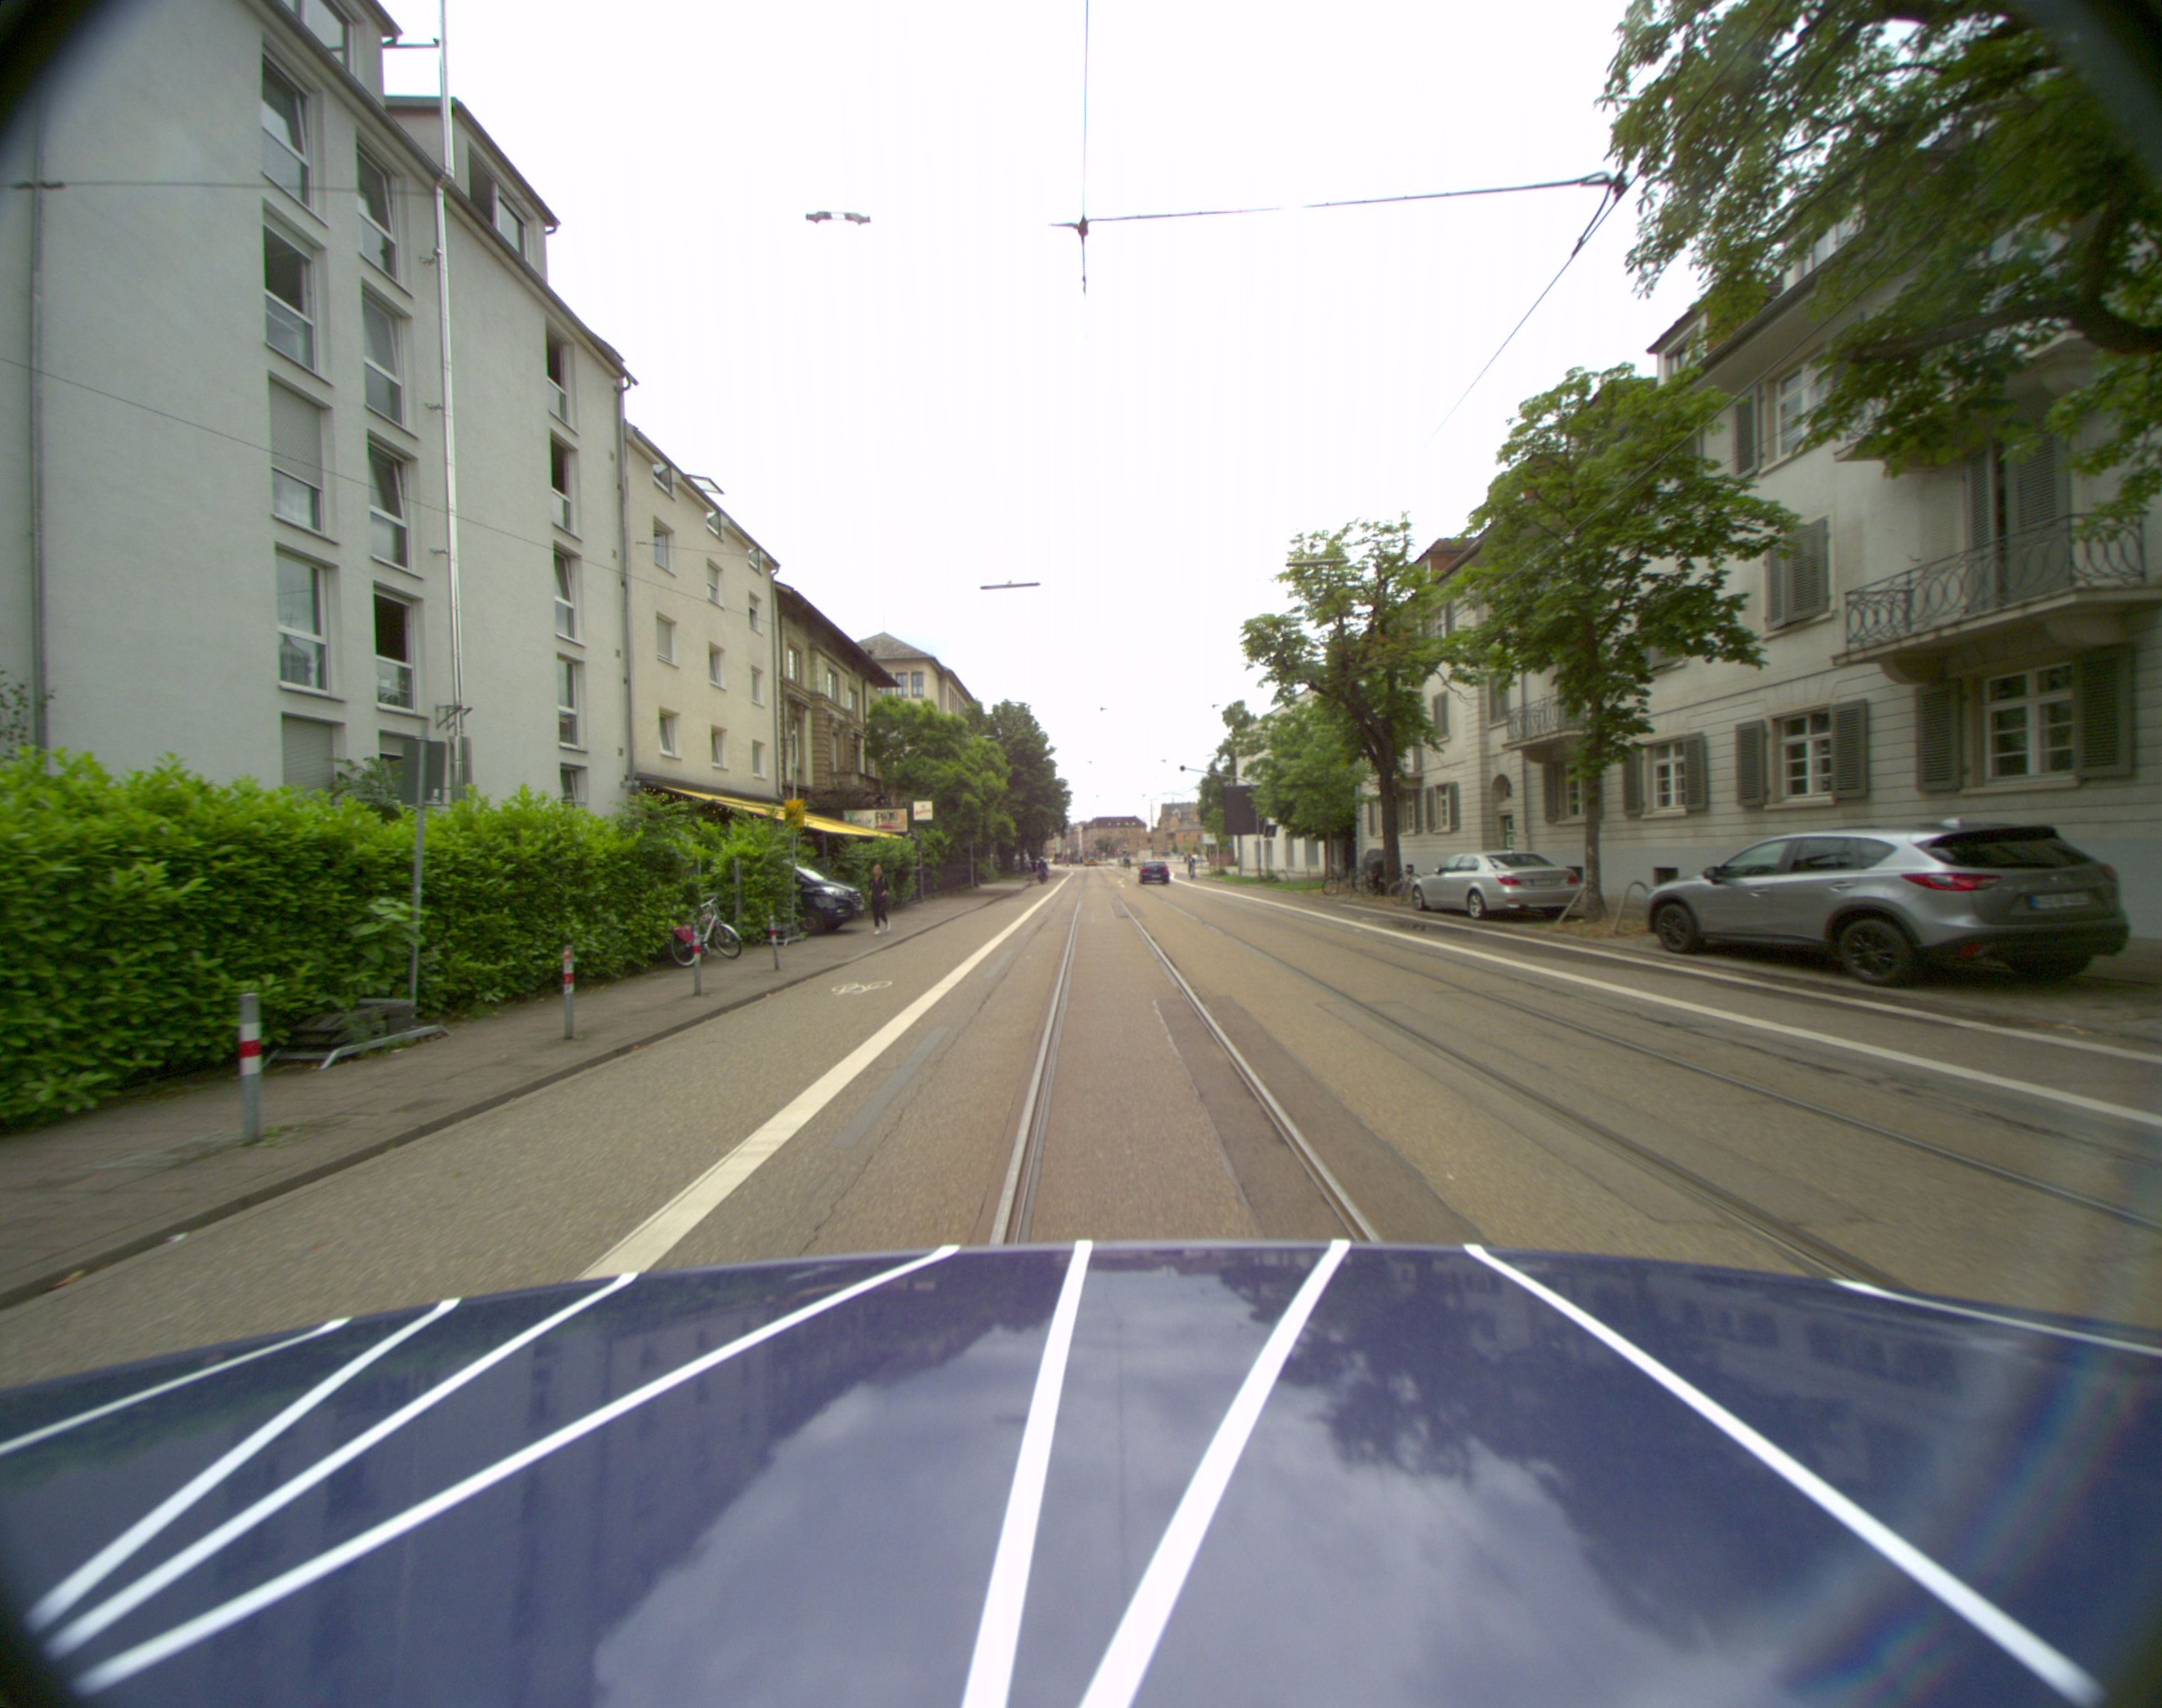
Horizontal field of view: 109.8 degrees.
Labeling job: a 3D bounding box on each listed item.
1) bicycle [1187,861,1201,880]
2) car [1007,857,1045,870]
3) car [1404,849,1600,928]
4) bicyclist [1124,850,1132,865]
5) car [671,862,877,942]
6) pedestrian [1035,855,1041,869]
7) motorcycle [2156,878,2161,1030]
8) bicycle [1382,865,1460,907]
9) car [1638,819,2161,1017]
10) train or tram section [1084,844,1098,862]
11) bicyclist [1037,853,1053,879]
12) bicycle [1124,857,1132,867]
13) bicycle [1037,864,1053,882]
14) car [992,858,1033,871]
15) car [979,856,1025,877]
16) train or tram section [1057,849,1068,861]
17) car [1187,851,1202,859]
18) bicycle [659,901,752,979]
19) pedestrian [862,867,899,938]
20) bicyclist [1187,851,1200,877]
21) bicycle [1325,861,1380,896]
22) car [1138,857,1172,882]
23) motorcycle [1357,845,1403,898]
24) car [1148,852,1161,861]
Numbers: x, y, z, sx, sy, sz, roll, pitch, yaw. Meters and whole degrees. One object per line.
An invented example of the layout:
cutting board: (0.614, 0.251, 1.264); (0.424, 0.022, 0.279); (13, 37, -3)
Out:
bicycle: (7.661, 1.111, 51.626); (0.775, 1.205, 1.869); (-2, 0, 5)
car: (-6.908, 1.219, 95.692); (4.330, 1.542, 1.747); (-2, 0, -22)
car: (9.185, 0.679, 17.110); (1.816, 1.457, 4.614); (-3, 0, 0)
bicyclist: (5.711, 0.385, 92.441); (0.793, 1.773, 1.148); (1, 0, 8)
car: (-7.422, 1.129, 18.653); (4.290, 1.798, 1.824); (-1, 0, 3)
pedestrian: (-5.321, 1.017, 94.482); (0.614, 1.740, 0.685); (-2, 0, -14)
motorcycle: (9.232, 0.769, 5.732); (1.288, 1.215, 0.548); (-3, 0, 7)
bicycle: (9.442, 0.884, 21.144); (1.900, 1.021, 0.564); (-3, 0, -3)
car: (9.051, 0.581, 8.949); (1.842, 1.651, 4.294); (-4, 0, 2)
train or tram section: (2.032, -0.244, 156.467); (2.631, 3.659, 5.984); (-2, 0, -1)
bicyclist: (-2.603, 0.896, 55.011); (0.881, 1.811, 1.479); (-2, -1, 5)
bicycle: (5.703, 0.914, 92.454); (0.793, 1.179, 2.012); (1, 0, 8)
bicycle: (-2.596, 1.379, 55.033); (0.853, 1.234, 2.311); (-2, -2, 6)
car: (-7.891, 1.176, 87.833); (4.338, 1.394, 1.750); (-2, 0, -32)
car: (-7.413, 1.177, 71.105); (3.846, 1.810, 1.803); (-1, 0, -30)
train or tram section: (-4.545, 0.249, 187.701); (2.609, 2.936, 4.965); (-2, 0, -1)
car: (22.495, 0.209, 150.627); (1.491, 1.500, 3.476); (-2, 0, 34)
bicycle: (-6.183, 1.385, 12.638); (0.634, 1.121, 1.812); (0, -1, 0)
pedestrian: (-4.853, 1.155, 18.428); (0.625, 1.661, 0.960); (1, 0, 0)
bicyclist: (7.657, 0.680, 51.720); (0.775, 1.681, 0.869); (-2, 0, 5)
bicycle: (9.586, 0.858, 26.828); (1.744, 1.122, 0.518); (-4, 0, 19)
car: (4.415, 0.898, 45.754); (1.733, 1.400, 3.655); (-2, 0, 1)
motorcycle: (9.704, 0.539, 24.775); (0.834, 1.633, 2.481); (-2, 0, 9)
car: (13.113, 0.478, 136.024); (1.758, 1.490, 4.004); (-1, 0, 14)
